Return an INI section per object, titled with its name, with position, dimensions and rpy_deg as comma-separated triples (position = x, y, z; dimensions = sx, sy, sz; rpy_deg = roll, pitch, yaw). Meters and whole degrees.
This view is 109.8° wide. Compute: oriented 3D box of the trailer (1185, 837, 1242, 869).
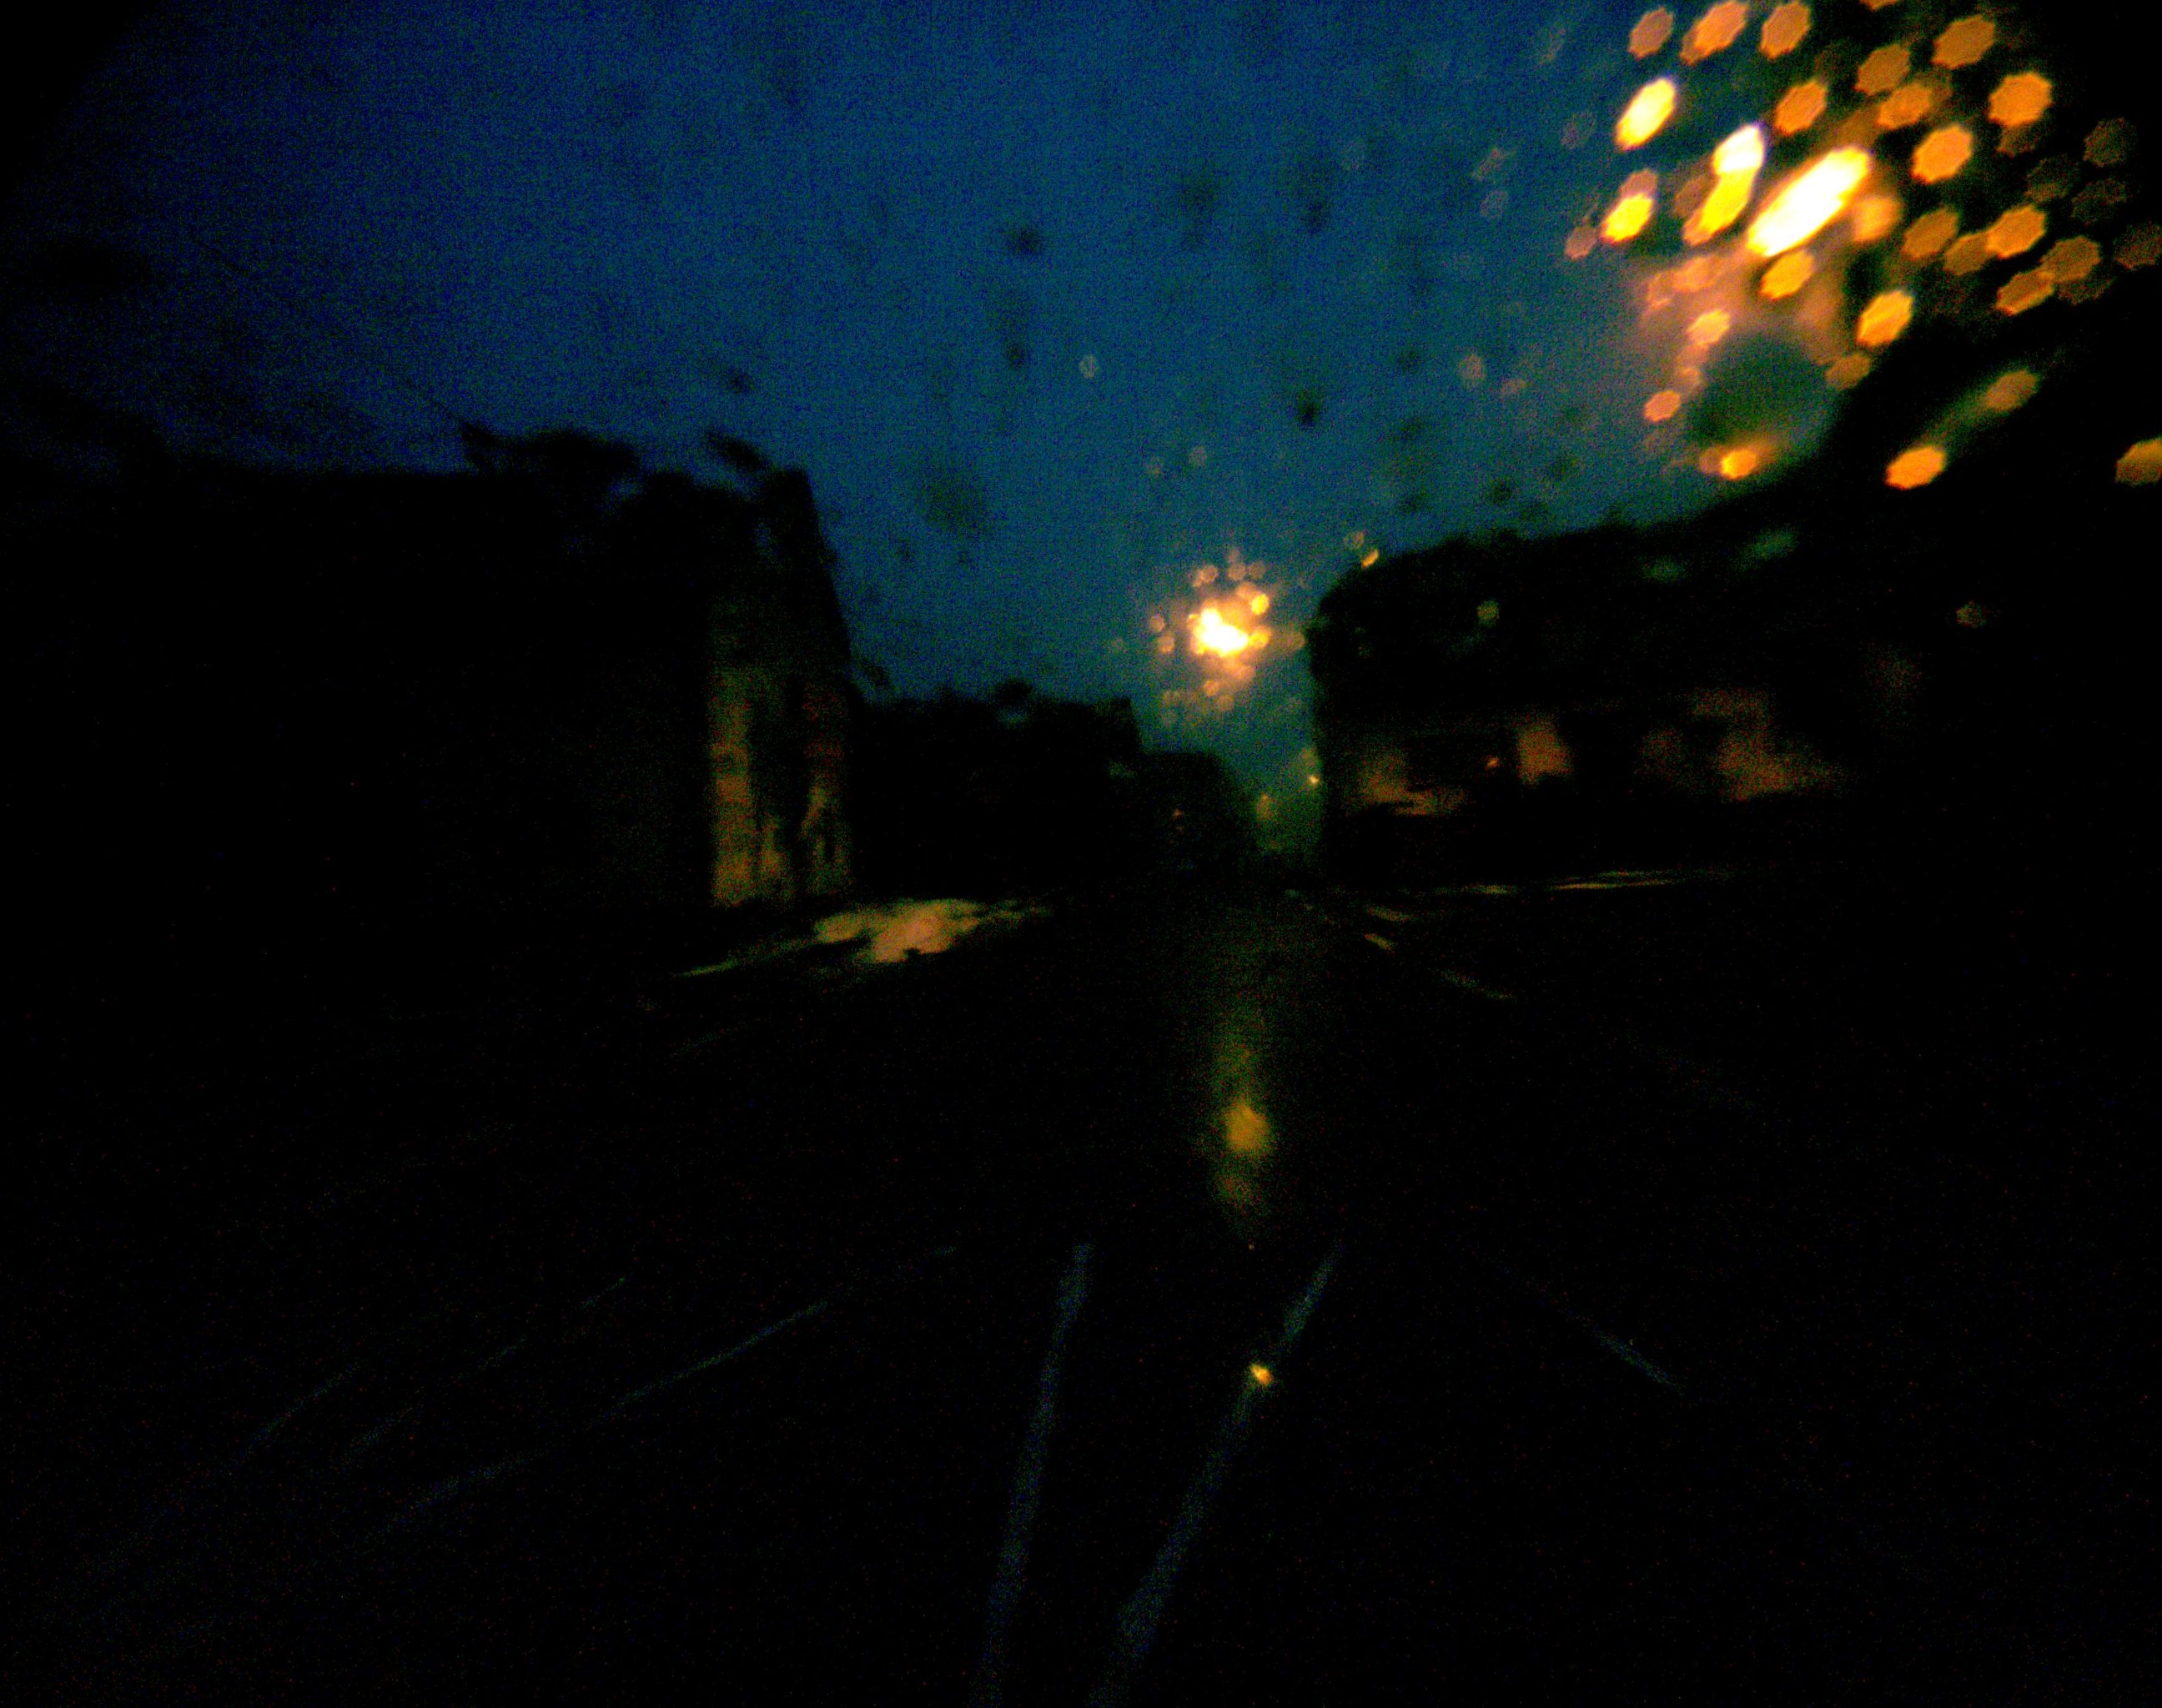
[trailer]
position = 7.110, -0.089, 40.326
dimensions = 1.996, 1.380, 4.737
rpy_deg = -4, 1, 22
